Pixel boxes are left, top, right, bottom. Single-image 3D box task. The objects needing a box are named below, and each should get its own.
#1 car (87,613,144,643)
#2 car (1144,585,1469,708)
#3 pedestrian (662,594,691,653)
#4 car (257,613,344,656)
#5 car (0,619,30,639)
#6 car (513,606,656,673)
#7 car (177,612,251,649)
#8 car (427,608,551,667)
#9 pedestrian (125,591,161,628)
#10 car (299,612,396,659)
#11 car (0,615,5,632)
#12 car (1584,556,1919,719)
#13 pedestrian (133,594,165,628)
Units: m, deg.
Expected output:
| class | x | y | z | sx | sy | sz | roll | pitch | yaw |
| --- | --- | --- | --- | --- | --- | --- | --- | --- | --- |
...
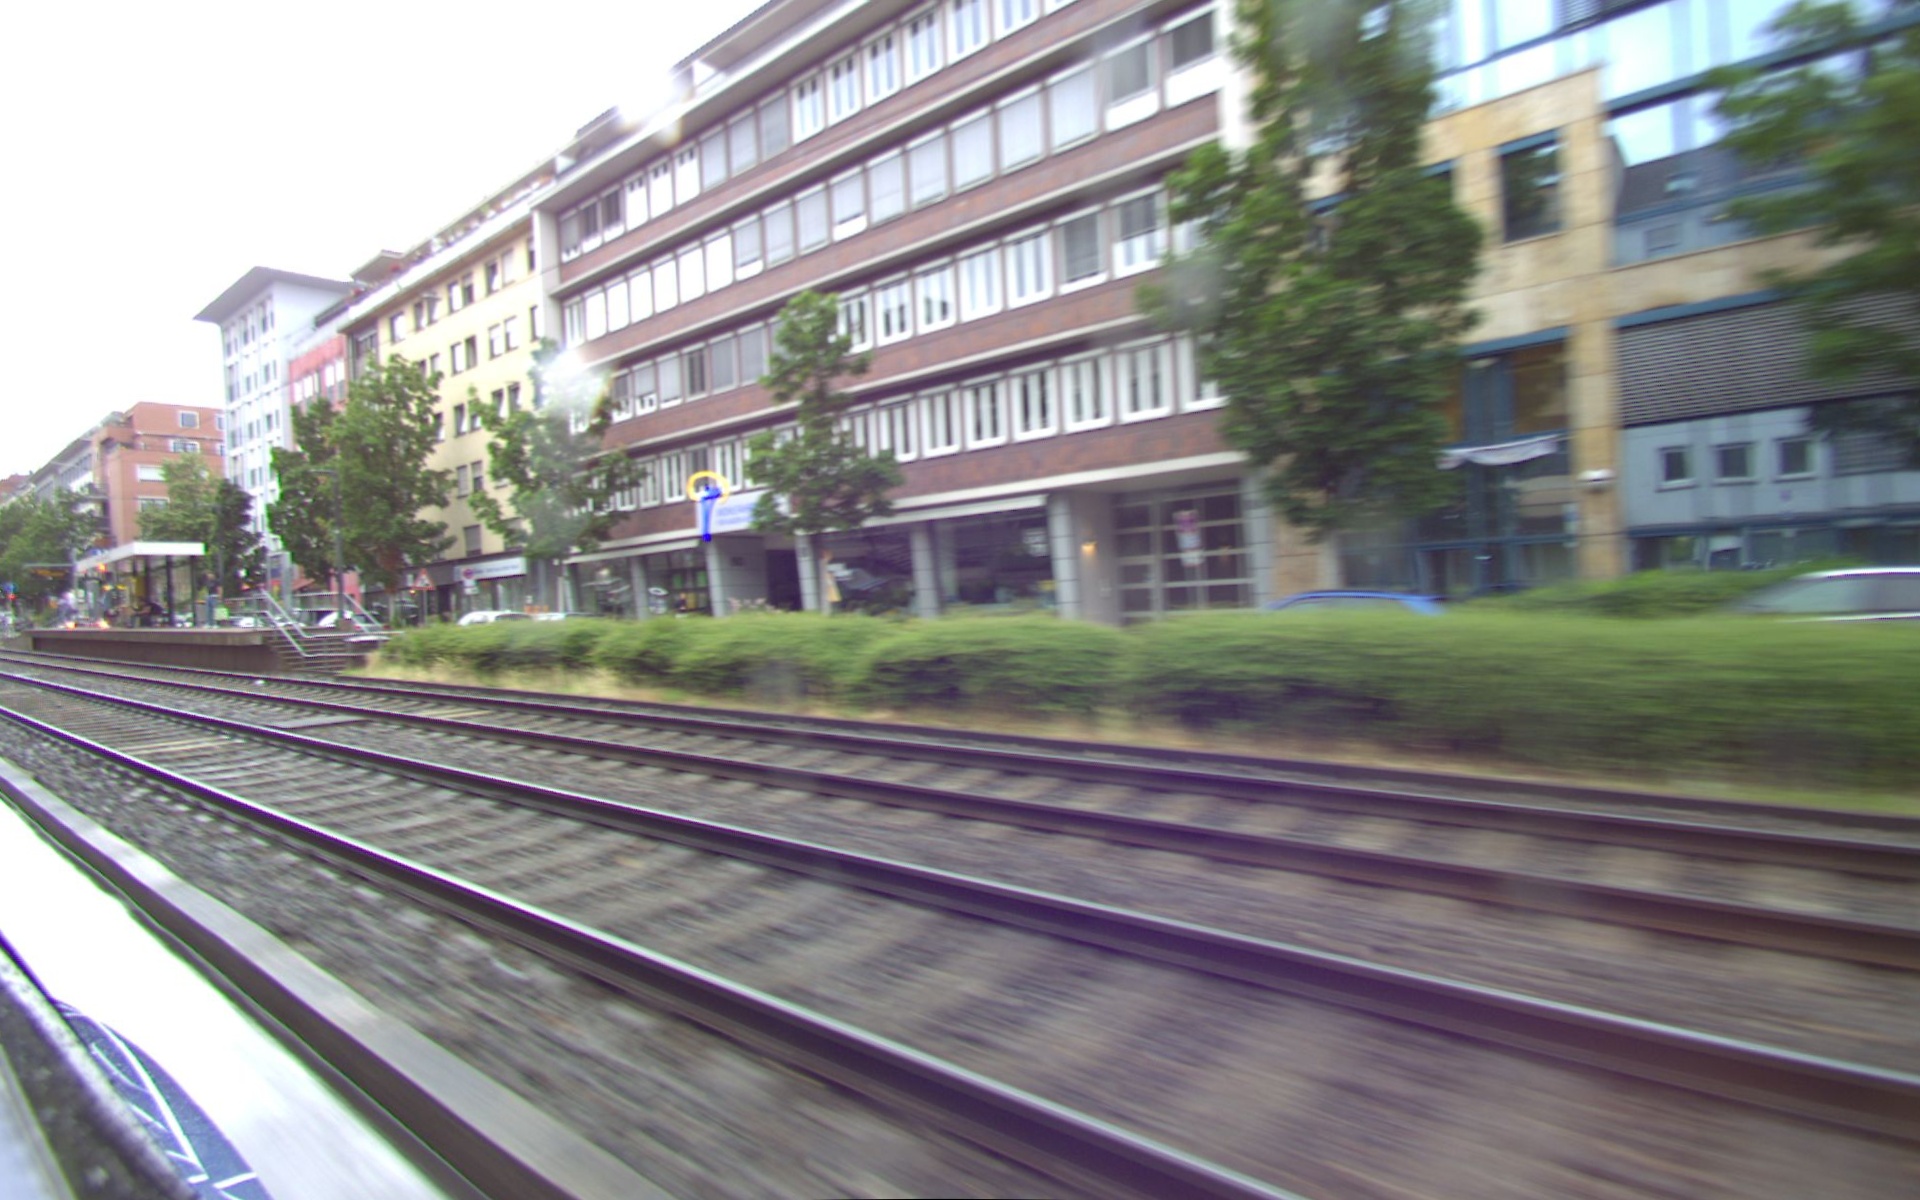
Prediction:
| class | x | y | z | sx | sy | sz | roll | pitch | yaw |
| --- | --- | --- | --- | --- | --- | --- | --- | --- | --- |
| car | -51.149 | 1.691 | 61.273 | 3.996 | 1.674 | 1.974 | -1 | 0 | 40 |
| car | 4.839 | 0.606 | 14.451 | 4.065 | 1.509 | 1.632 | -2 | 0 | 41 |
| pedestrian | -9.211 | 0.757 | 32.835 | 0.743 | 1.883 | 0.569 | -2 | -1 | 41 |
| car | -27.764 | 1.430 | 42.574 | 3.996 | 1.674 | 1.974 | -1 | 0 | 40 |
| car | -87.695 | 2.677 | 93.590 | 3.996 | 1.674 | 1.974 | -1 | 0 | 40 |
| car | -10.443 | 1.054 | 28.048 | 3.996 | 1.674 | 1.974 | -1 | 0 | 40 |
| car | -36.381 | 1.464 | 49.313 | 3.996 | 1.674 | 1.974 | -1 | 0 | 40 |
| car | -14.645 | 1.127 | 31.405 | 3.996 | 1.674 | 1.974 | -1 | 0 | 40 |
| pedestrian | -31.125 | 0.358 | 38.555 | 0.637 | 1.396 | 0.946 | -2 | 0 | 38 |
| car | -23.661 | 1.354 | 39.061 | 3.996 | 1.674 | 1.974 | -1 | 0 | 40 |
| car | -96.726 | 2.330 | 100.758 | 3.996 | 1.674 | 1.974 | -1 | 0 | 40 |
| car | 9.361 | 0.357 | 10.579 | 4.619 | 1.552 | 1.632 | -2 | 0 | 41 |
| pedestrian | -30.565 | 0.398 | 38.144 | 0.637 | 1.265 | 0.805 | -2 | 0 | 38 |
